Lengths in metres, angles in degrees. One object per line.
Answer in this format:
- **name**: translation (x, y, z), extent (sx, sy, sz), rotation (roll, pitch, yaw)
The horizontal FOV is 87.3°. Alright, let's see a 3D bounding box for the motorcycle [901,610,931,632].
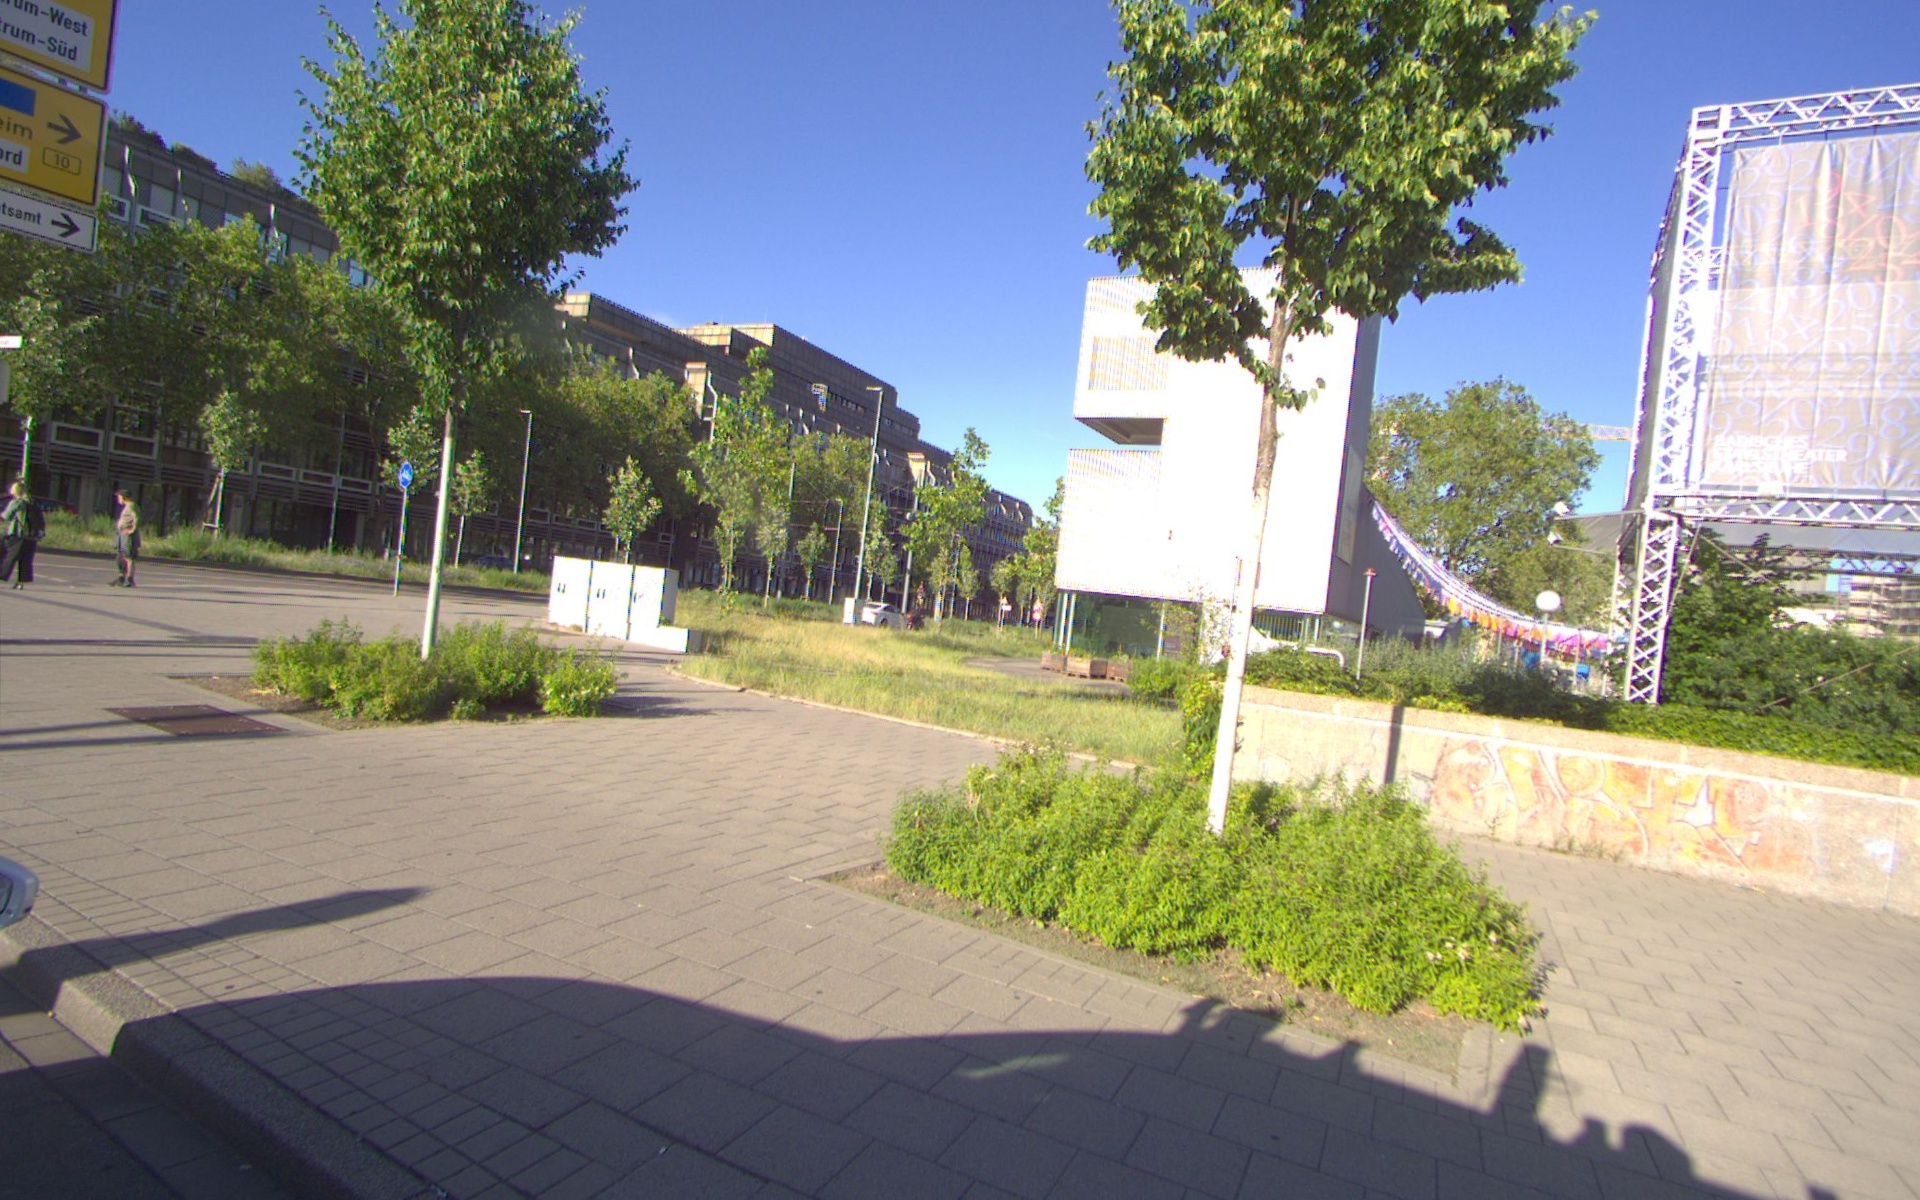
- **motorcycle**: translation (-2.298, 1.116, 52.794), extent (0.551, 0.970, 2.080), rotation (7, 0, 25)

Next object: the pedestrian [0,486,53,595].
- **pedestrian**: translation (-14.047, -0.896, 14.783), extent (0.633, 1.510, 0.789), rotation (6, -1, 31)

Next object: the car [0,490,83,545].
- **car**: translation (-33.279, -2.991, 34.912), extent (1.629, 1.604, 3.896), rotation (6, -1, 24)

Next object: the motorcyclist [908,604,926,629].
- **motorcyclist**: translation (-2.260, 0.874, 52.806), extent (0.551, 1.263, 0.727), rotation (7, 0, 26)

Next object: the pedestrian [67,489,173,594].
- **pedestrian**: translation (-14.968, -1.029, 17.944), extent (0.946, 1.684, 0.882), rotation (7, -1, 11)

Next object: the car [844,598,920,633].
- **car**: translation (-4.232, 0.882, 55.393), extent (1.820, 1.437, 4.956), rotation (7, -1, 26)
